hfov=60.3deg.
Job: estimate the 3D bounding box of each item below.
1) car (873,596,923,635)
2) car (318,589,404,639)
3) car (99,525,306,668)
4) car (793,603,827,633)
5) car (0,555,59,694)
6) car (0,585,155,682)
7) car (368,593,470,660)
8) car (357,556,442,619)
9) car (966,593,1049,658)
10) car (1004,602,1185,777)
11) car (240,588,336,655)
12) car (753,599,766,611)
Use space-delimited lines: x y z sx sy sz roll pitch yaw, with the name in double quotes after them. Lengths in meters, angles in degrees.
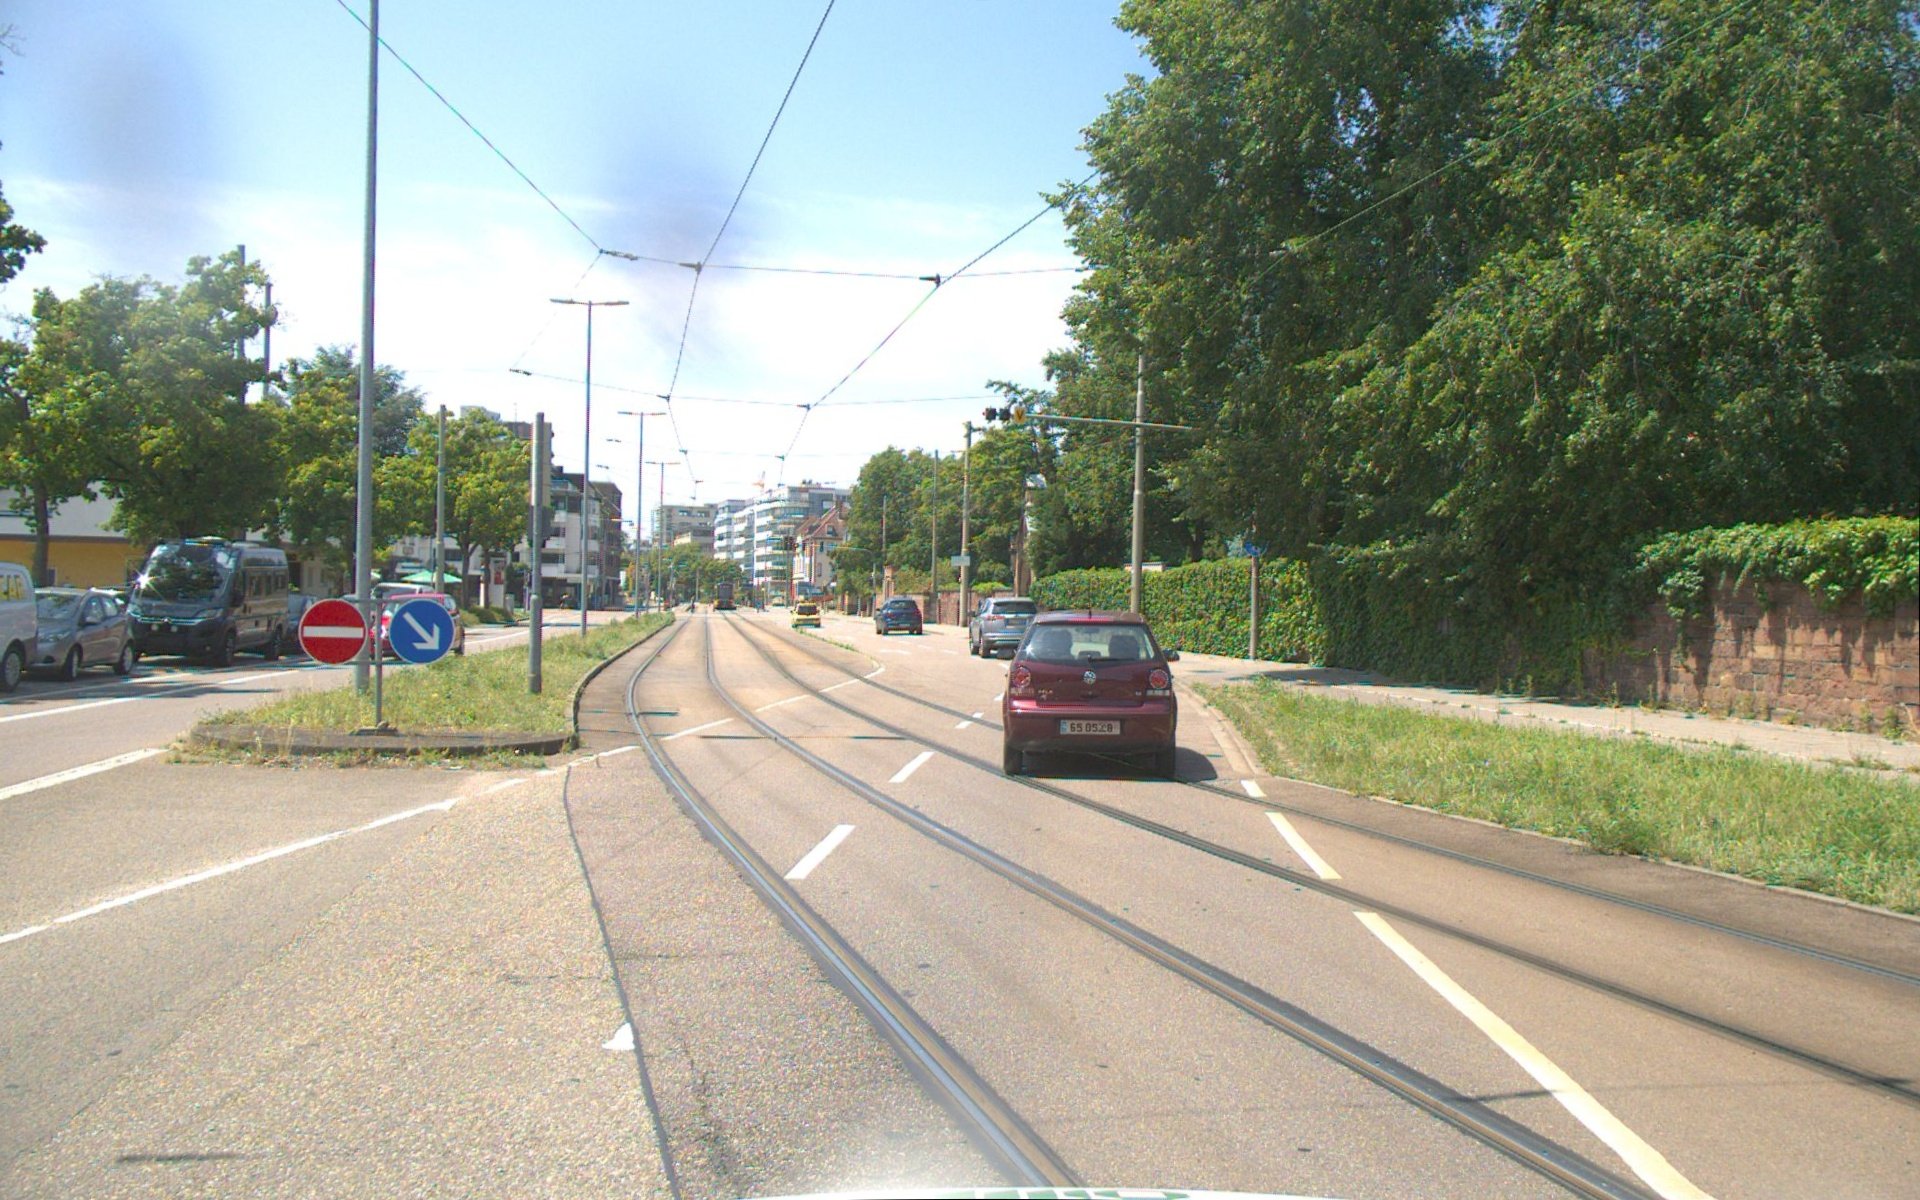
-2.868 0.699 76.070 1.742 1.659 3.991 2 0 -10 "car"
-18.819 0.427 52.097 1.600 1.444 3.861 3 0 -6 "car"
-16.423 -0.069 36.307 2.354 2.702 6.160 4 -1 -9 "car"
-9.112 1.090 100.424 1.762 1.712 3.992 2 0 -8 "car"
-14.552 0.290 22.910 1.827 1.971 4.798 4 -1 -7 "car"
-15.357 0.537 28.612 1.379 1.465 3.832 4 -1 -9 "car"
-12.155 0.572 37.314 1.627 1.434 3.598 0 0 -9 "car"
-19.794 -0.421 58.599 1.841 1.999 5.154 4 -1 -9 "car"
1.304 0.692 47.227 1.761 1.712 3.994 2 0 -7 "car"
1.230 0.784 16.426 1.576 1.524 4.001 0 0 2 "car"
-17.334 0.529 42.806 1.288 1.549 4.016 4 -1 -9 "car"
-21.966 0.519 180.984 1.329 1.274 2.966 2 0 -8 "car"
